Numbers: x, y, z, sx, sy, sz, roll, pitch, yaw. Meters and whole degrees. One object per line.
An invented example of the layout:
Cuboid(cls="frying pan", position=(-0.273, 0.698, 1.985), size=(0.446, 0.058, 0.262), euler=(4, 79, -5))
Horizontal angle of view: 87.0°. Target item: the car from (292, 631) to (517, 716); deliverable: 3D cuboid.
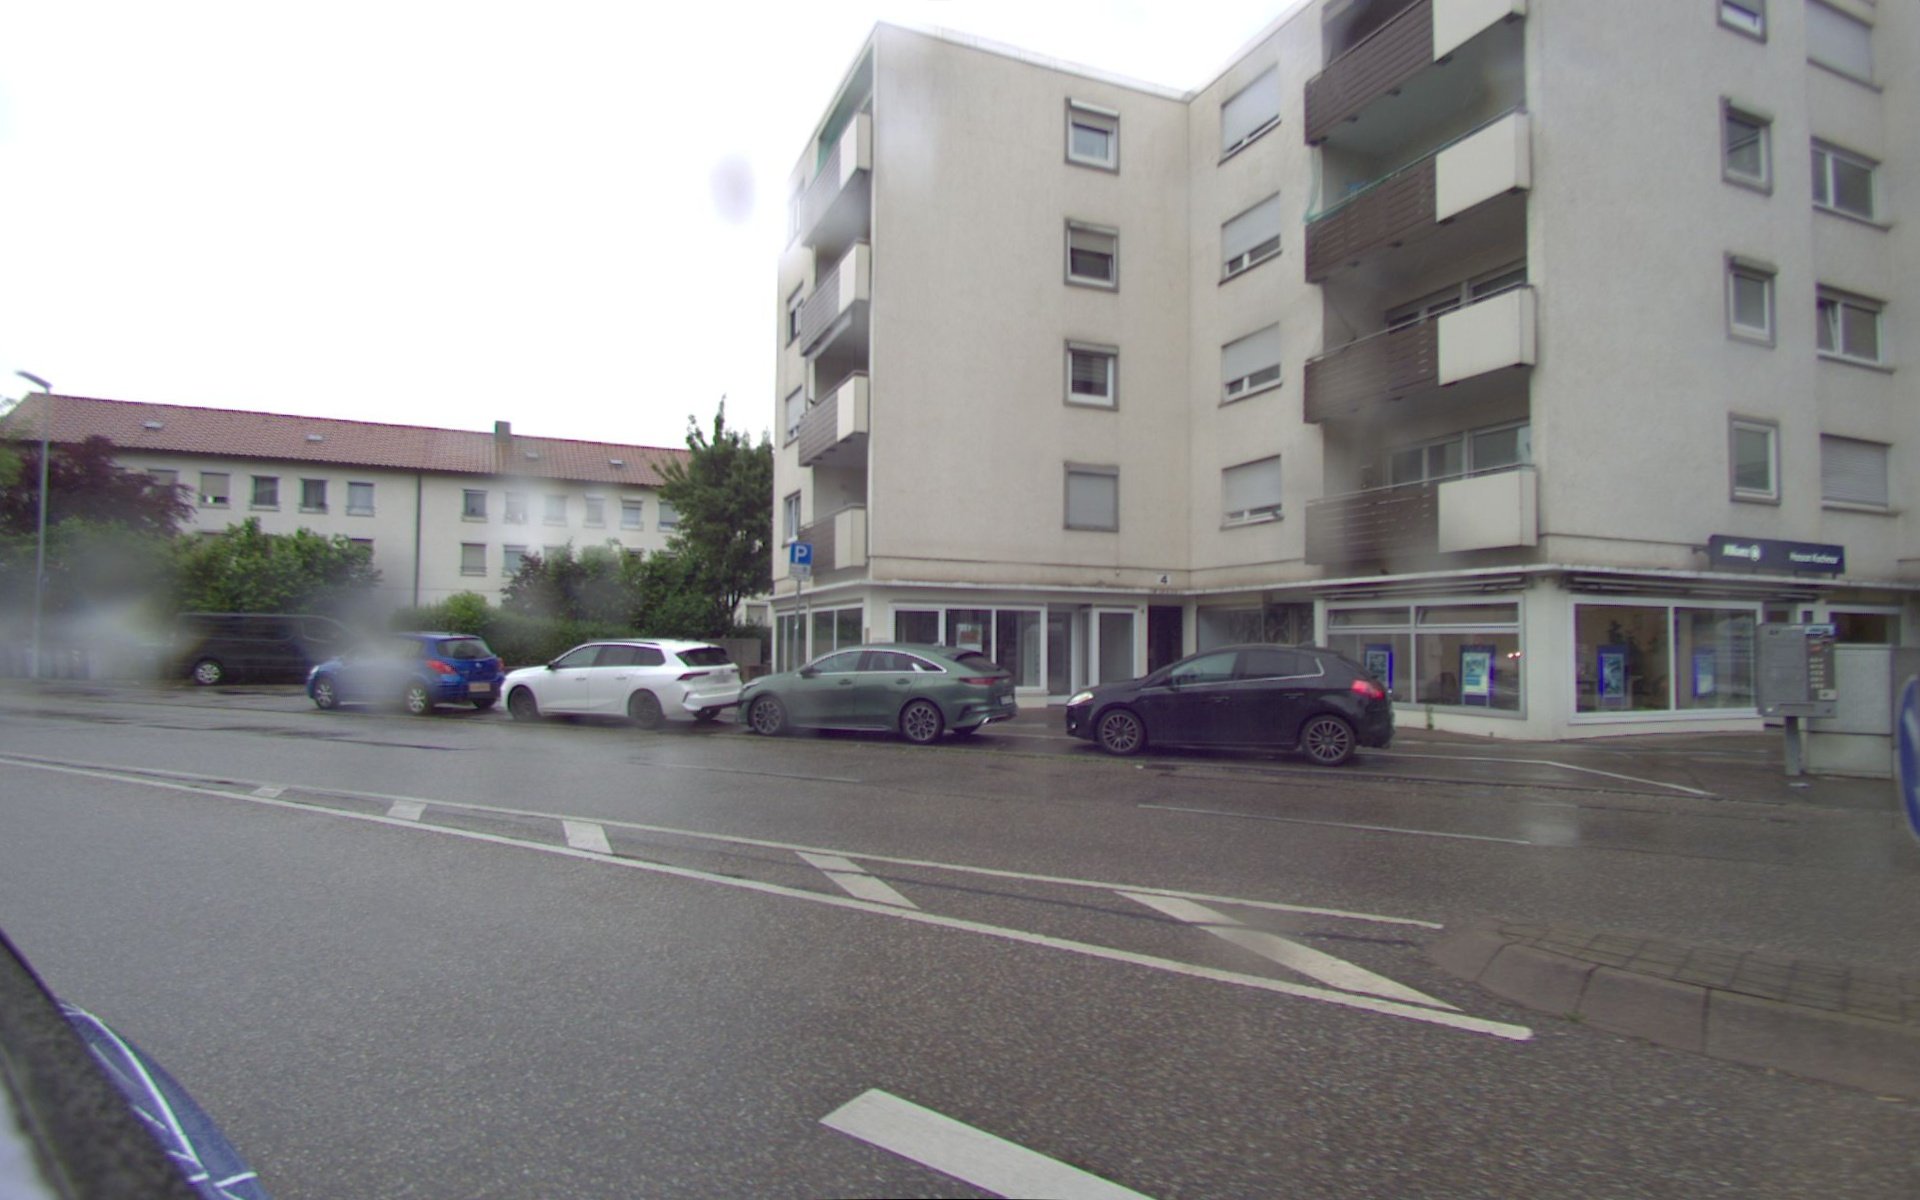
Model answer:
Cuboid(cls="car", position=(-11.038, 1.391, 20.090), size=(4.297, 1.532, 1.644), euler=(-1, -2, 24))

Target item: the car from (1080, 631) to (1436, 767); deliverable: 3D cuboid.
Cuboid(cls="car", position=(3.905, 1.194, 13.406), size=(4.246, 1.553, 1.925), euler=(-1, -2, 24))

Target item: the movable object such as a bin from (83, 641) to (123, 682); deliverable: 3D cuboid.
Cuboid(cls="movable object such as a bin", position=(-24.320, 1.740, 28.725), size=(0.595, 1.127, 0.599), euler=(0, -3, 10))

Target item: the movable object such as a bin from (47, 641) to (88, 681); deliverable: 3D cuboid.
Cuboid(cls="movable object such as a bin", position=(-25.542, 1.741, 28.973), size=(0.595, 1.127, 0.599), euler=(0, -3, 10))

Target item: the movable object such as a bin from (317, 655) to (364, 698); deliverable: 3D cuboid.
Cuboid(cls="movable object such as a bin", position=(-14.346, 1.760, 23.431), size=(0.678, 0.973, 0.645), euler=(-1, -3, 23))

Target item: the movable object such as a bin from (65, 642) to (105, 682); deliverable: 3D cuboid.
Cuboid(cls="movable object such as a bin", position=(-24.938, 1.759, 28.858), size=(0.595, 1.127, 0.599), euler=(0, -3, 10))

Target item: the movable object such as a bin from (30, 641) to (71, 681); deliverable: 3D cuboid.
Cuboid(cls="movable object such as a bin", position=(-26.143, 1.750, 29.099), size=(0.595, 1.127, 0.599), euler=(0, -3, 10))

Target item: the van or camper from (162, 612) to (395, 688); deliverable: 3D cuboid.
Cuboid(cls="van or camper", position=(-19.032, 1.383, 28.601), size=(5.127, 1.939, 2.006), euler=(0, -3, -21))

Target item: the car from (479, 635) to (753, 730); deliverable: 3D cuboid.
Cuboid(cls="car", position=(-6.049, 1.366, 17.756), size=(4.655, 1.475, 1.685), euler=(-1, -2, 24))

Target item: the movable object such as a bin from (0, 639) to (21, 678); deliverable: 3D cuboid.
Cuboid(cls="movable object such as a bin", position=(-27.954, 1.699, 29.521), size=(0.596, 1.127, 0.597), euler=(0, -2, 20))

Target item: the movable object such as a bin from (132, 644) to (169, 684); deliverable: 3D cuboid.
Cuboid(cls="movable object such as a bin", position=(-23.091, 1.821, 28.894), size=(0.591, 1.127, 0.602), euler=(1, -3, -13))

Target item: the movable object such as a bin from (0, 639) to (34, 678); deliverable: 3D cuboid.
Cuboid(cls="movable object such as a bin", position=(-27.378, 1.682, 29.296), size=(0.596, 1.127, 0.597), euler=(0, -2, 20))

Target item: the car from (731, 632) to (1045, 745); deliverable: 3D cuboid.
Cuboid(cls="car", position=(-1.119, 1.270, 15.685), size=(4.493, 1.553, 1.925), euler=(-1, -2, 24))

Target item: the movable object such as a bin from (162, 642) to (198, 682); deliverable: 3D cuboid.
Cuboid(cls="movable object such as a bin", position=(-22.420, 1.776, 29.094), size=(0.591, 1.127, 0.602), euler=(1, -3, -13))

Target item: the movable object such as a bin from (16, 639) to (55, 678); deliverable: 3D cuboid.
Cuboid(cls="movable object such as a bin", position=(-26.724, 1.688, 29.263), size=(0.596, 1.127, 0.597), euler=(-1, -2, 21))
